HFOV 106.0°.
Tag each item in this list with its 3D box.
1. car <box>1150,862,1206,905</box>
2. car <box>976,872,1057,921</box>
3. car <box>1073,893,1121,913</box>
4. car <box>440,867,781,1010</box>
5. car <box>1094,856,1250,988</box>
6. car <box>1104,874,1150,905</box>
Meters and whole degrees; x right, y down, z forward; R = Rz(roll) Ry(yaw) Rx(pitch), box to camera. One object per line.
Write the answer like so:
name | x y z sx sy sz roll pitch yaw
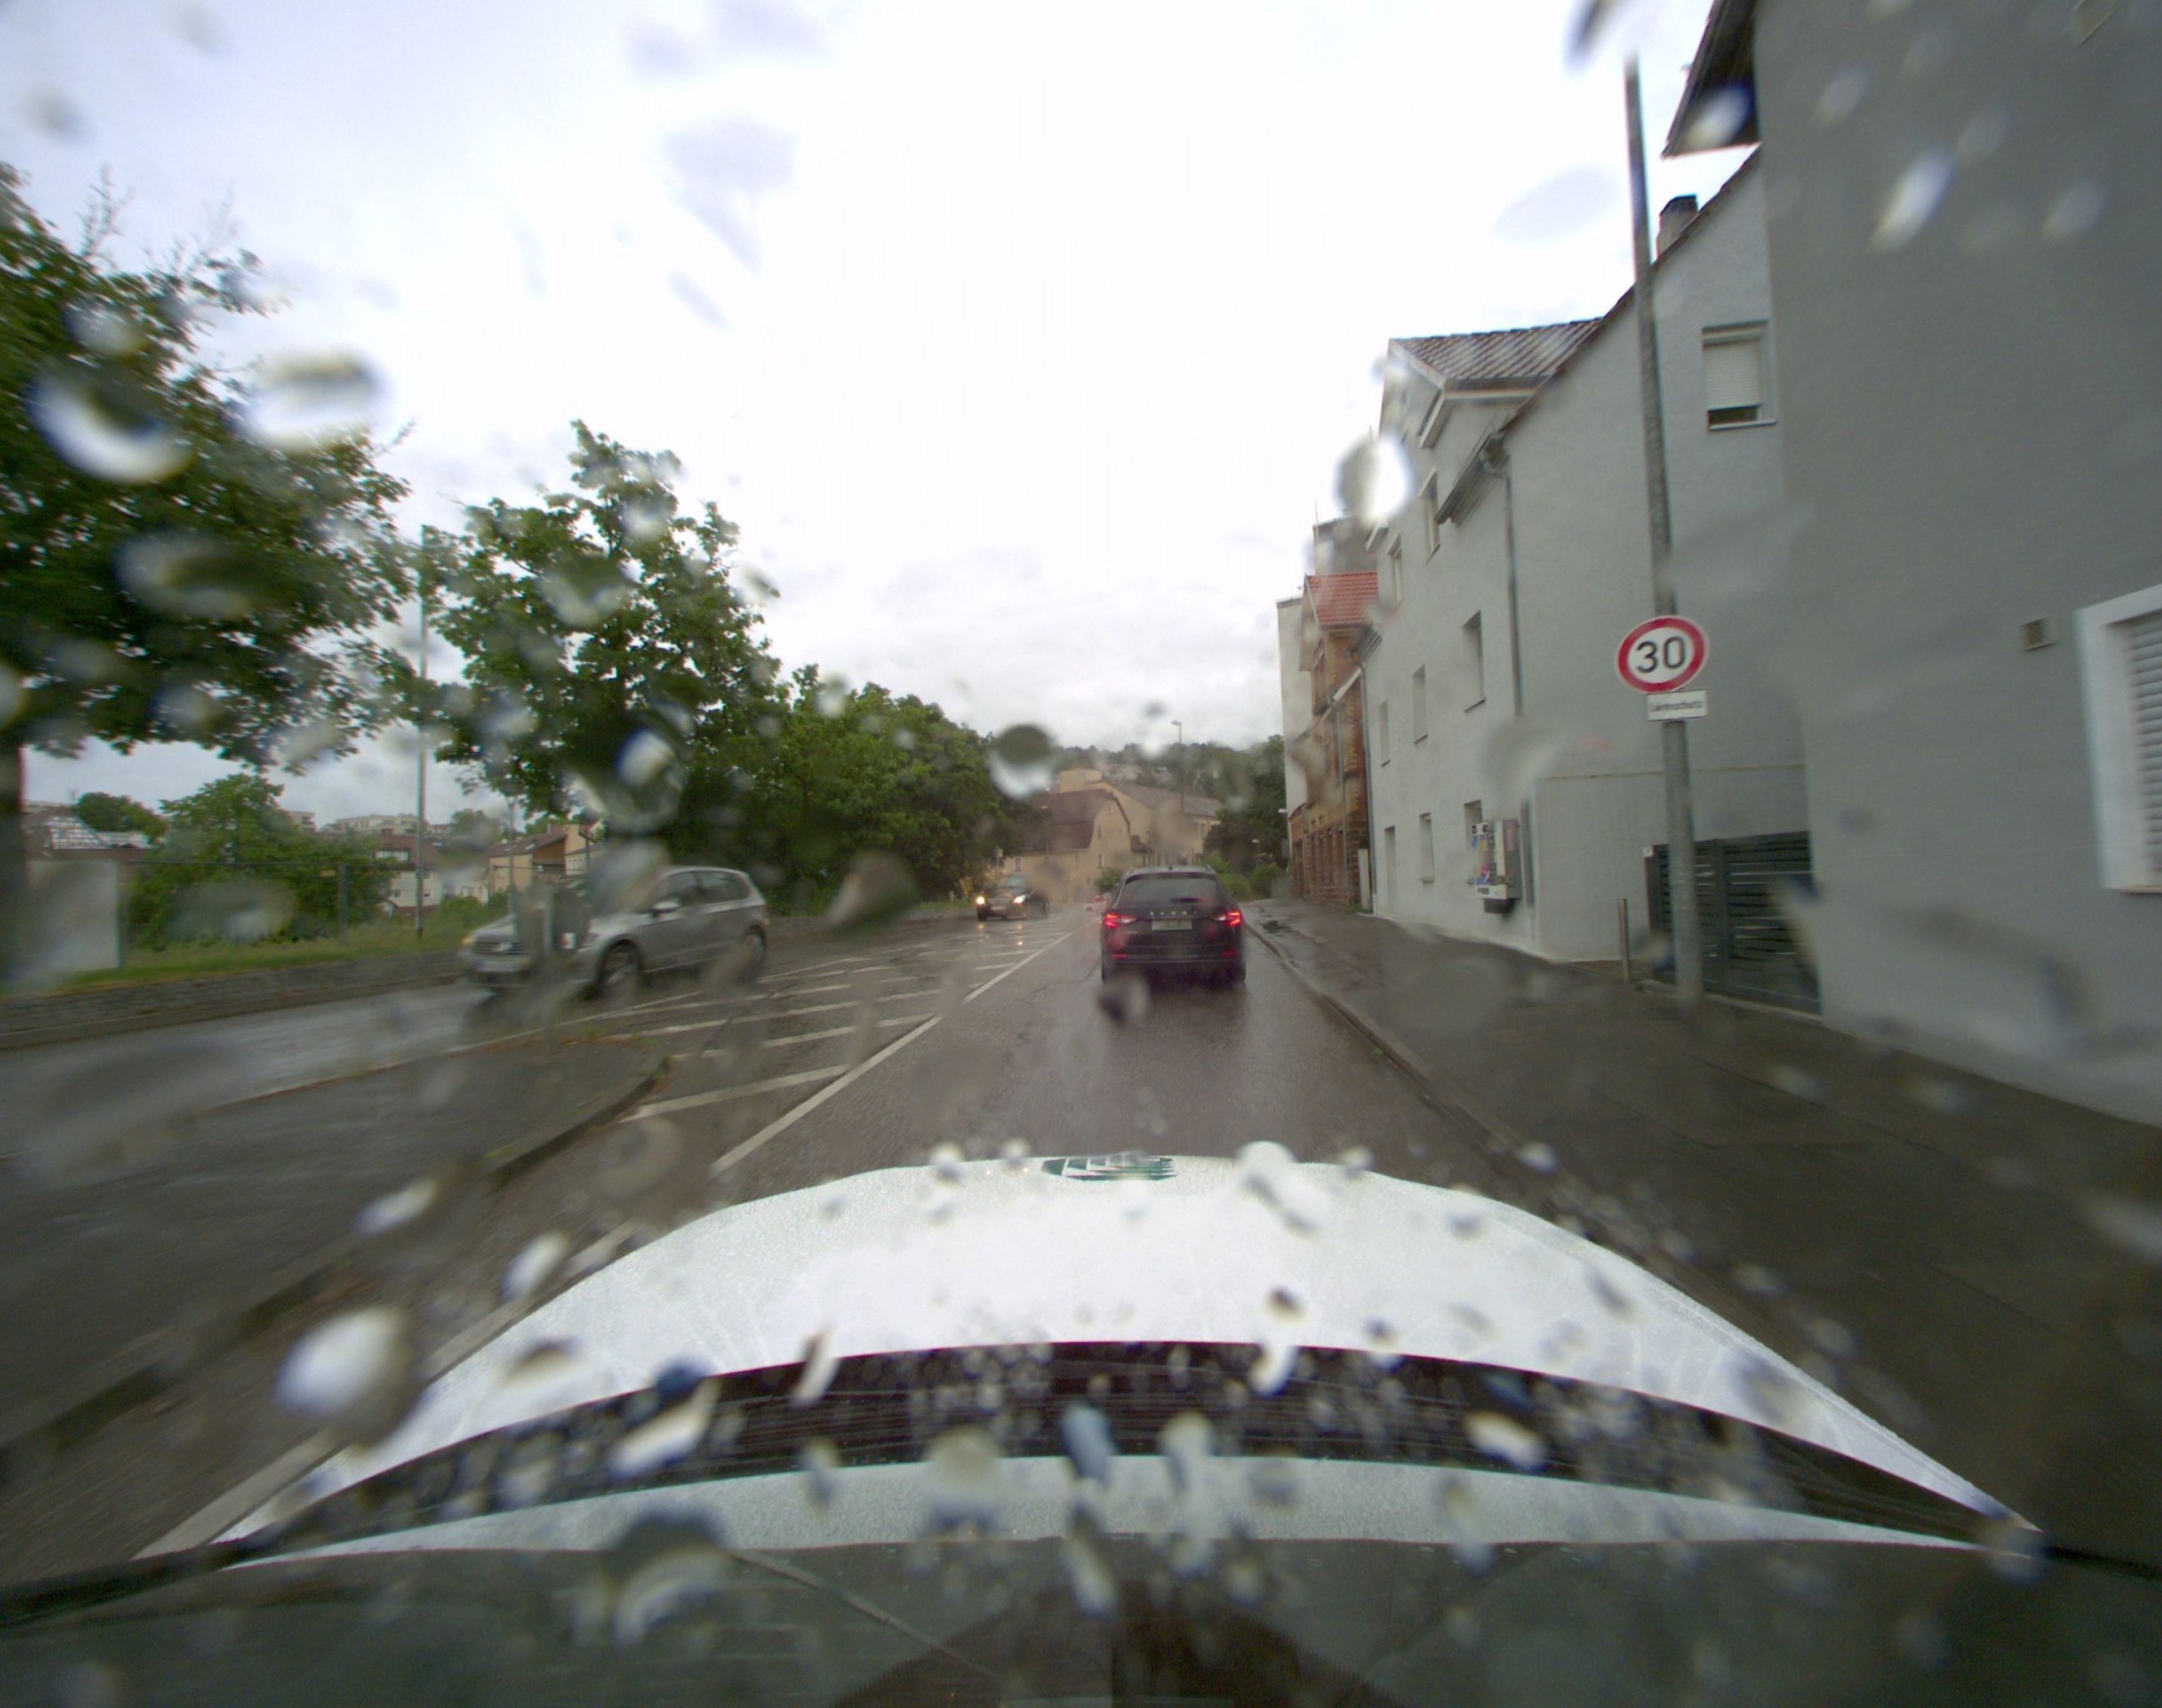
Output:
car | 3.465 1.078 29.322 1.809 1.360 3.995 -3 -3 6
car | -2.154 1.415 28.392 1.629 1.521 4.084 -2 -1 12
car | 1.432 4.286 71.165 3.764 1.453 1.700 -3 -4 -20
car | -5.990 0.974 11.046 1.633 1.552 4.167 -2 -1 11
car | 1.210 0.792 11.490 1.774 1.483 4.251 0 0 4
car | 2.545 2.047 46.079 1.727 1.591 4.169 0 -4 -9
